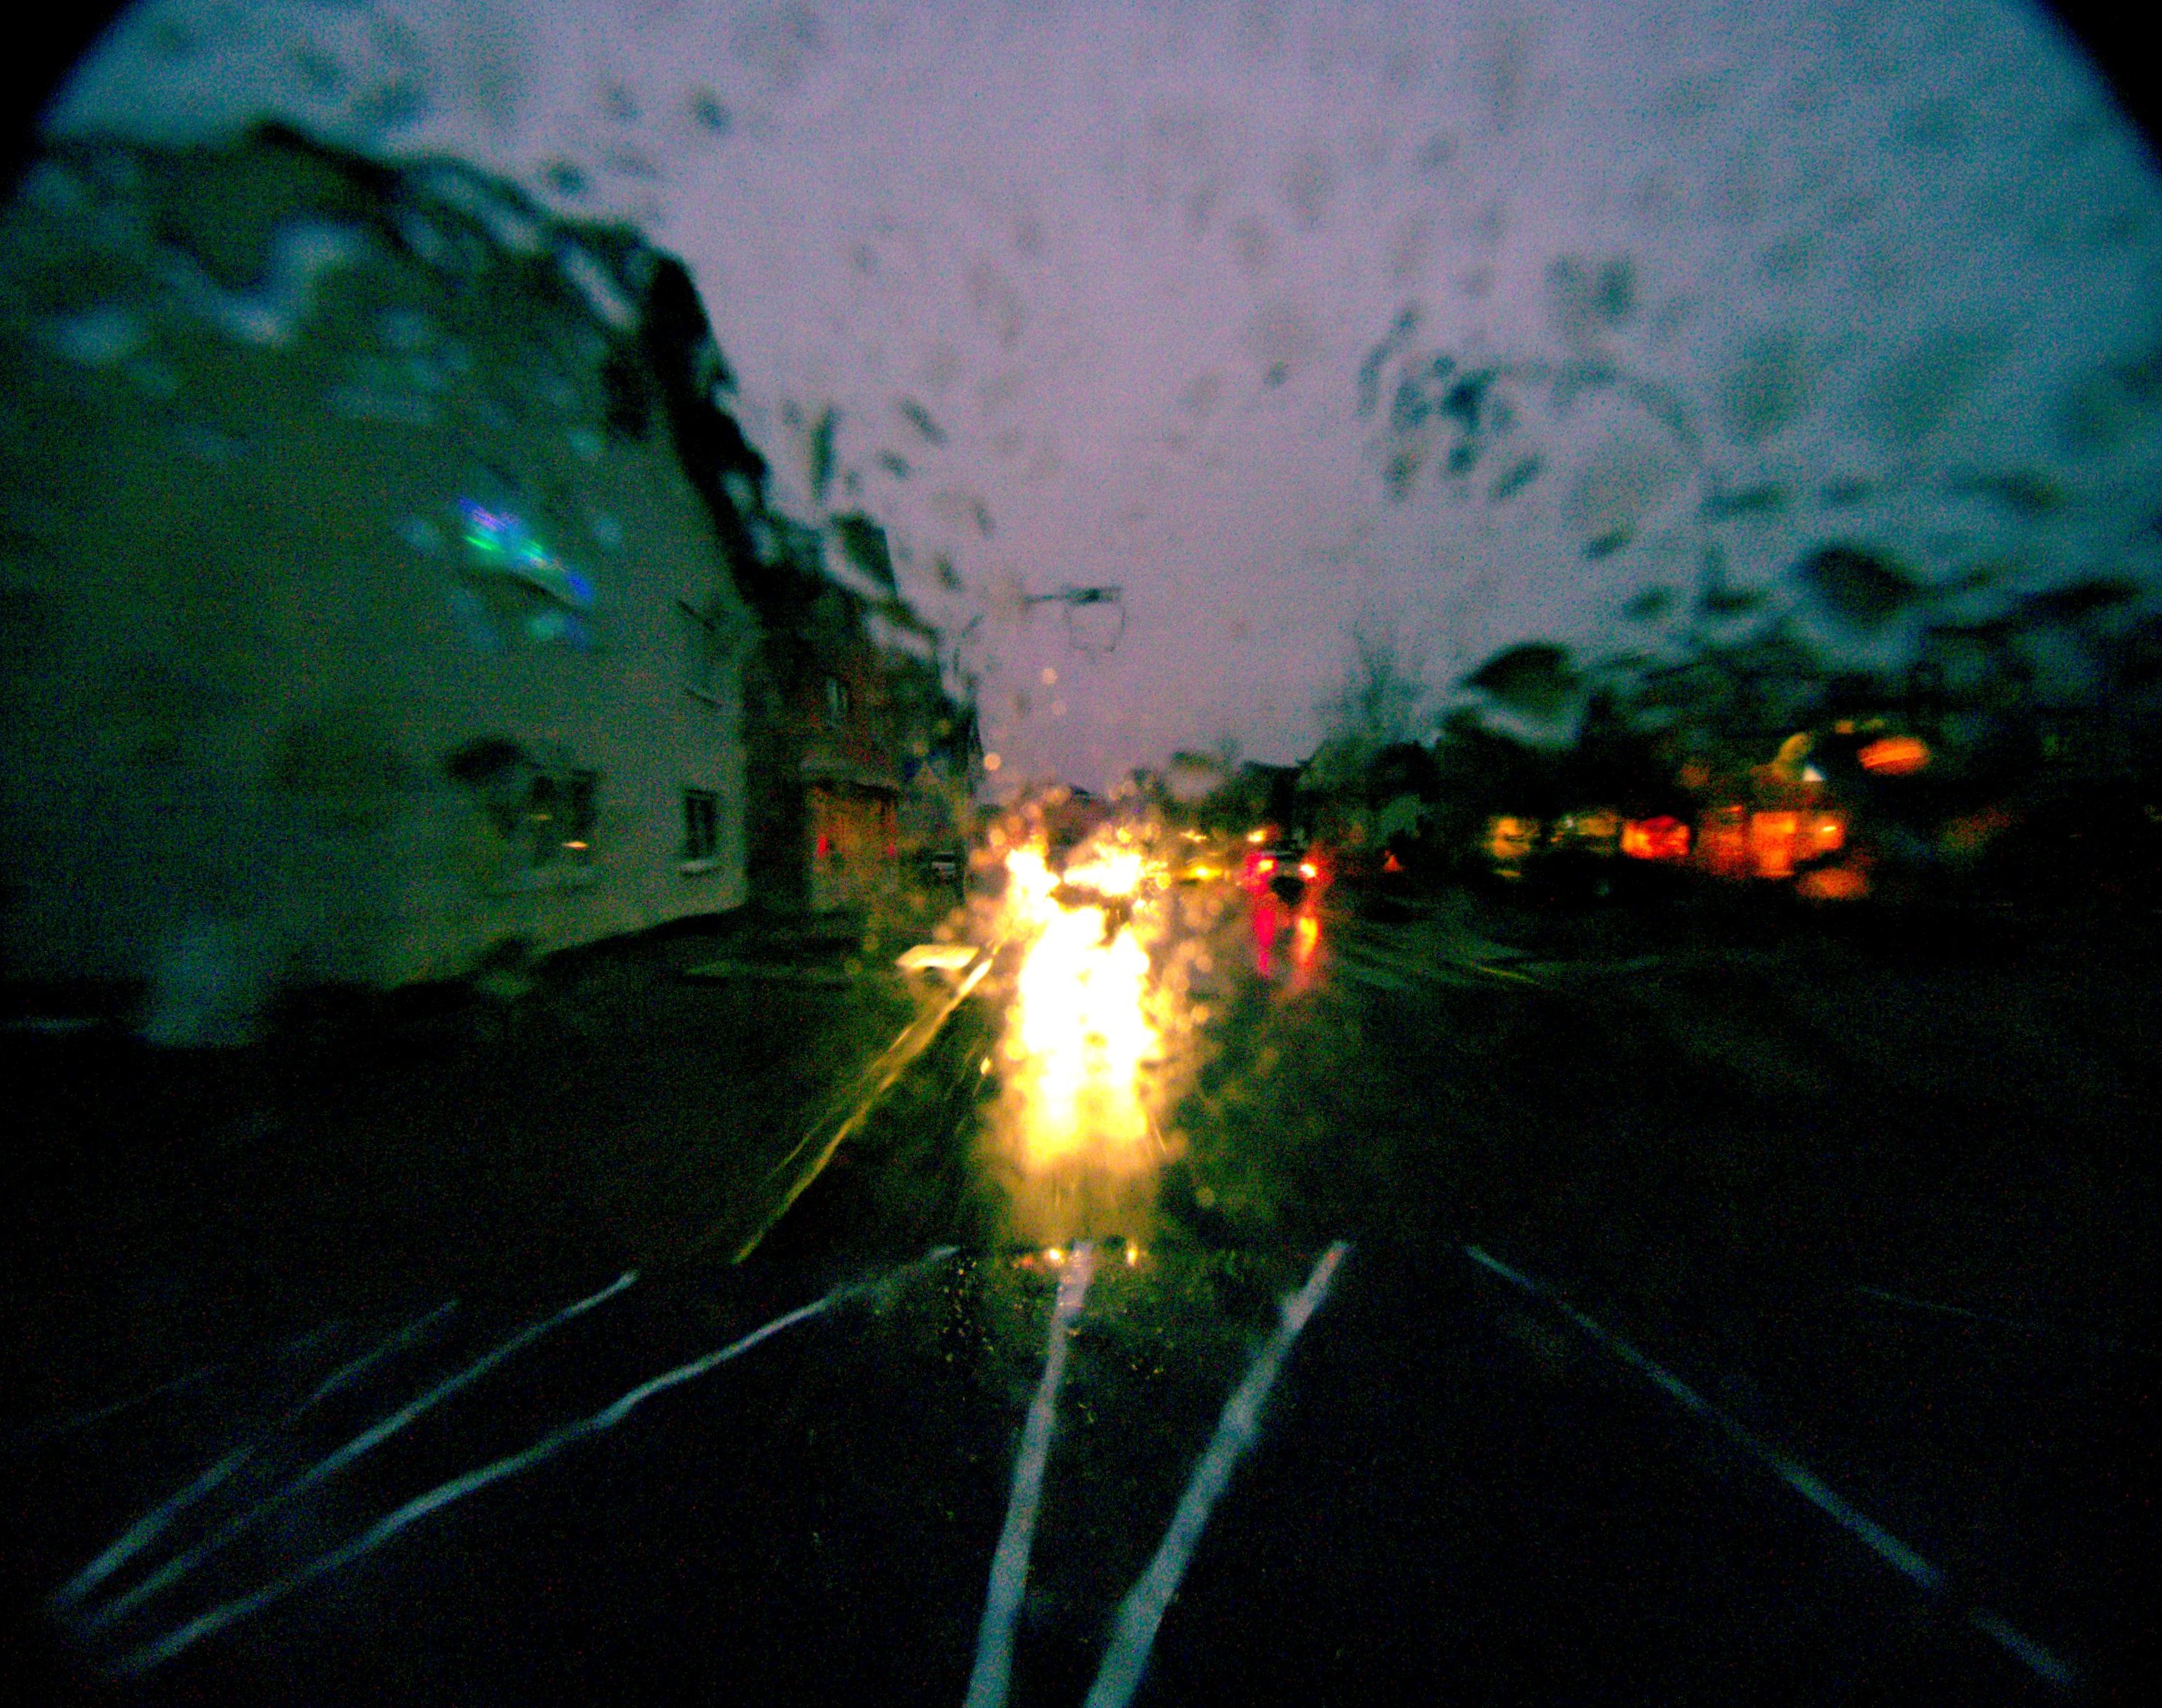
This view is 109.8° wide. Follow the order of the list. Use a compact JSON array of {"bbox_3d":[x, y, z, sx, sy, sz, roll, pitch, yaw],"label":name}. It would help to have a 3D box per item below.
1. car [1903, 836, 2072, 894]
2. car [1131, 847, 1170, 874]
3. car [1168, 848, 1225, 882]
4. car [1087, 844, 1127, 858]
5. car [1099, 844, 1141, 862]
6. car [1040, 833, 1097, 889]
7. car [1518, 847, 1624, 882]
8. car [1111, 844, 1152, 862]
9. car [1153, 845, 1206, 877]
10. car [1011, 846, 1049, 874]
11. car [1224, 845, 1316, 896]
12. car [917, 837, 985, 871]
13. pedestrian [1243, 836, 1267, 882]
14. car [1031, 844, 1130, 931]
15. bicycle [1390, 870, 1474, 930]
[{"bbox_3d":[30.253,0.328,25.407,4.001,1.833,1.997,0,1,-13],"label":"car"},{"bbox_3d":[4.327,0.382,47.881,1.840,1.526,4.137,-2,1,-3],"label":"car"},{"bbox_3d":[5.252,0.459,34.963,1.699,1.423,4.375,-2,1,-3],"label":"car"},{"bbox_3d":[2.690,-0.328,78.350,3.996,1.291,2.000,-2,1,2],"label":"car"},{"bbox_3d":[3.910,-0.096,75.460,3.995,1.538,2.001,-2,1,7],"label":"car"},{"bbox_3d":[-0.466,0.222,29.936,1.999,2.002,3.999,-2,1,0],"label":"car"},{"bbox_3d":[22.958,0.438,35.808,2.000,1.555,3.996,0,1,-11],"label":"car"},{"bbox_3d":[4.819,-0.135,72.853,3.840,1.537,2.000,-2,1,4],"label":"car"},{"bbox_3d":[5.183,0.326,40.352,1.880,1.526,3.669,-2,1,-7],"label":"car"},{"bbox_3d":[-3.821,0.414,56.195,2.001,1.844,3.994,-3,1,-15],"label":"car"},{"bbox_3d":[6.182,0.485,25.344,1.789,1.480,4.180,-2,1,-3],"label":"car"},{"bbox_3d":[-6.084,-0.037,36.170,1.934,1.477,4.697,-2,1,5],"label":"car"},{"bbox_3d":[7.716,0.228,33.766,0.902,2.002,0.791,-1,1,6],"label":"pedestrian"},{"bbox_3d":[-0.117,0.669,17.726,1.999,1.720,3.998,-2,1,-3],"label":"car"},{"bbox_3d":[6.617,0.849,14.432,0.325,1.055,1.742,4,-2,-17],"label":"bicycle"}]
